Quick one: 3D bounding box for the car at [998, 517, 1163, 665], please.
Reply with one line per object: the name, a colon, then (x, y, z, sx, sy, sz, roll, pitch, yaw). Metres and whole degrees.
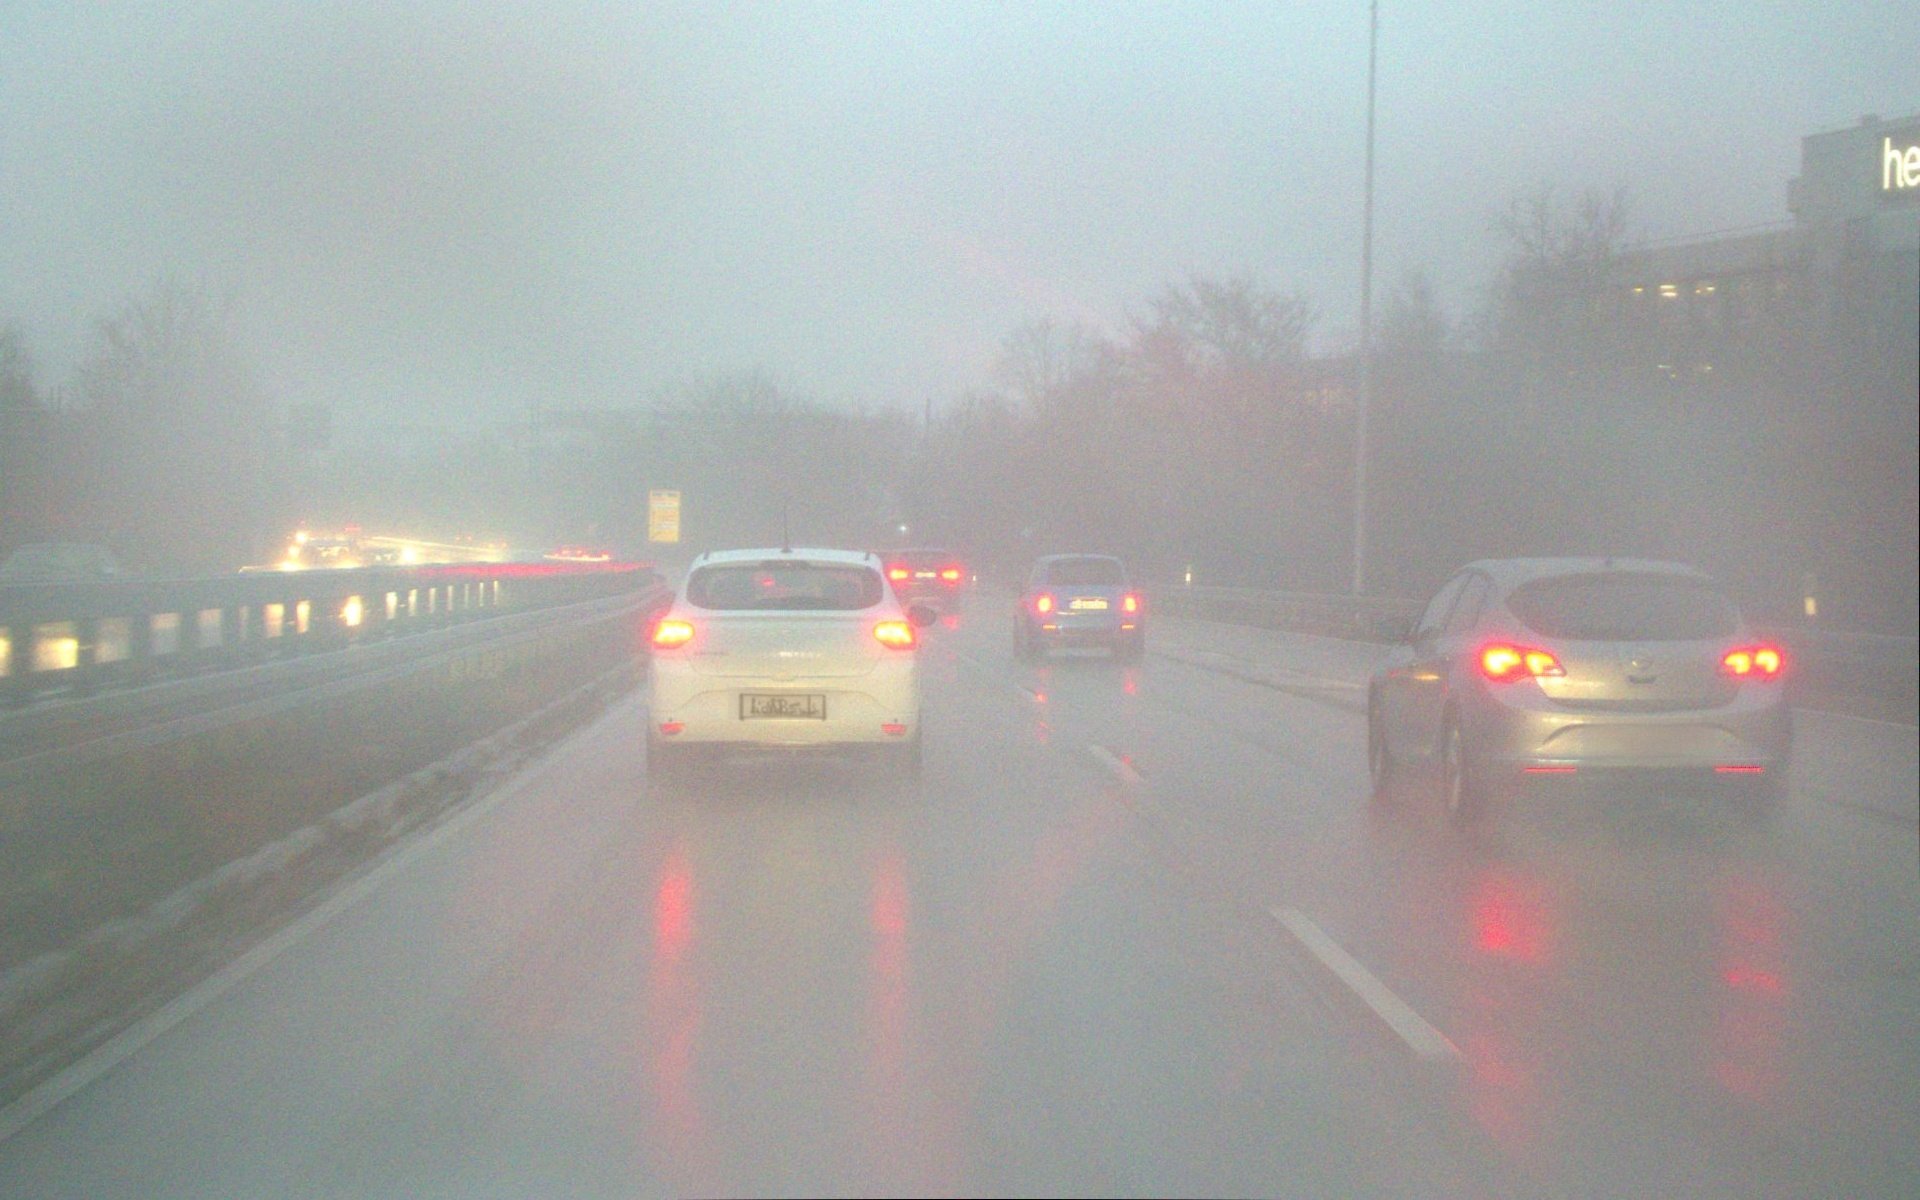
car: (1.672, -0.141, 48.944, 1.932, 2.012, 3.774, 1, 1, -4)

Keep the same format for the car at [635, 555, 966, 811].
car: (-1.173, 0.496, 23.309, 2.024, 1.569, 4.001, 1, 1, -6)

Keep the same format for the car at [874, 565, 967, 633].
car: (-1.030, -0.037, 87.682, 1.932, 1.541, 3.774, -5, 1, -5)

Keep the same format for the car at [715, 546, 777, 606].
car: (-7.354, -0.848, 118.563, 1.993, 2.007, 4.000, 1, 1, -2)

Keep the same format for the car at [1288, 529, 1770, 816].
car: (3.213, 0.362, 20.293, 1.849, 1.496, 4.263, 1, 1, -4)

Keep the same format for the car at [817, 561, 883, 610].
car: (-3.565, -0.476, 111.135, 1.932, 1.541, 3.774, 1, 1, -4)

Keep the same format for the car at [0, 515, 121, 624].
car: (-14.217, -0.482, 52.923, 1.726, 1.602, 4.179, 1, 1, -2)

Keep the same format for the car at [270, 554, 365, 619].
car: (-16.555, -0.363, 88.757, 1.866, 1.622, 4.780, 1, 1, -4)
